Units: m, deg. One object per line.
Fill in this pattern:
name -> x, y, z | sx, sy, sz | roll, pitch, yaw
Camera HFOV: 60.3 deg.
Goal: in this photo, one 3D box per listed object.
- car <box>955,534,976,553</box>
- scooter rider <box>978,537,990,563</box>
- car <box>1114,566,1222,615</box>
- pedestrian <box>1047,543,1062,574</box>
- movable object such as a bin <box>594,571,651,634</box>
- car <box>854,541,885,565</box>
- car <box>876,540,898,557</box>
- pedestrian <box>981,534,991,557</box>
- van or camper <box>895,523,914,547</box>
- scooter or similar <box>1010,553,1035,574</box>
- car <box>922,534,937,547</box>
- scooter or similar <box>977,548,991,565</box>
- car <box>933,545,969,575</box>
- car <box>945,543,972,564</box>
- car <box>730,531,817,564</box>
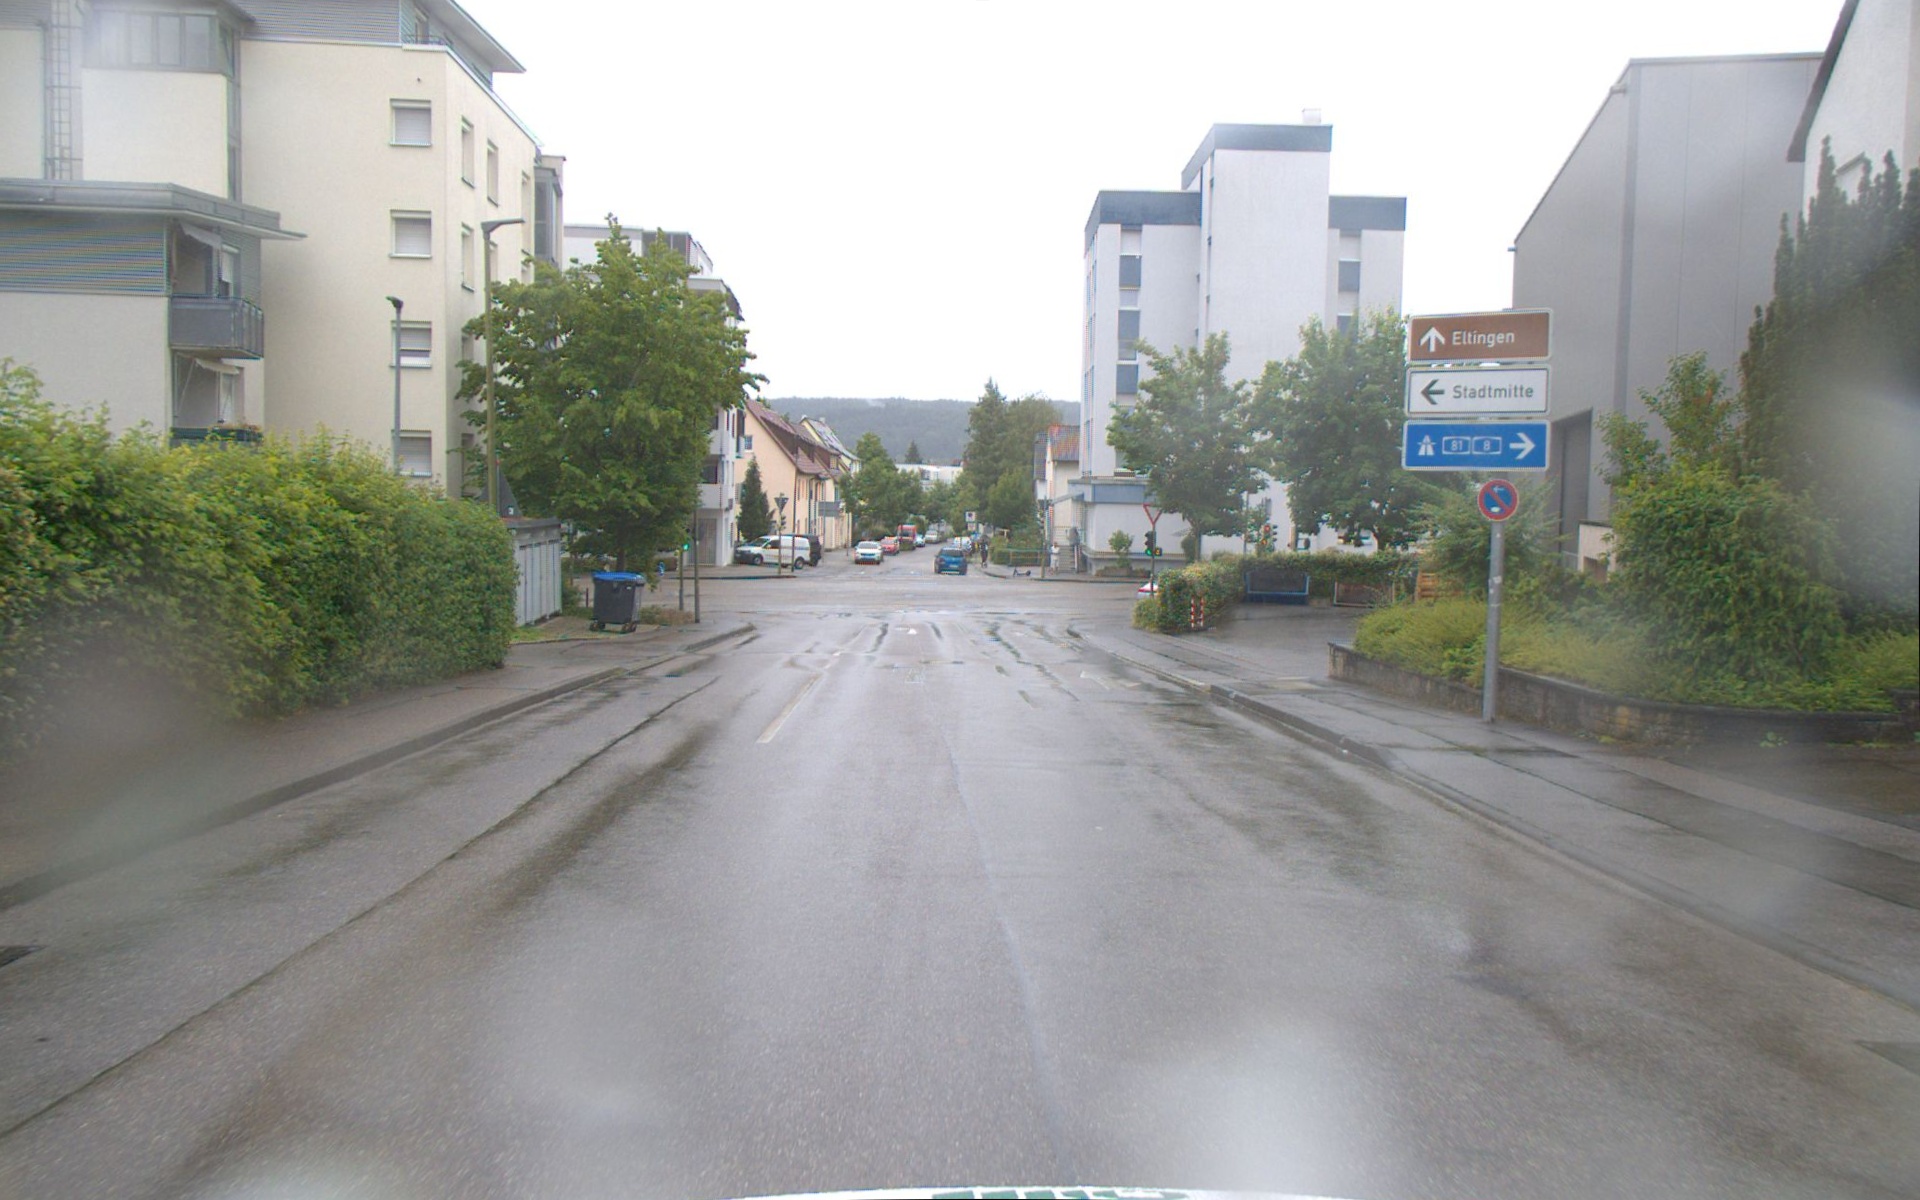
car -> 0.525, -5.257, 153.819 | 1.862, 1.775, 4.192 | 0, 2, 0
scooter rider -> 1.670, -3.578, 117.218 | 0.738, 1.827, 0.671 | -1, 2, -10
car -> 7.894, -0.388, 62.726 | 3.964, 1.713, 1.971 | -2, 3, -41
pedestrian -> 5.168, -2.280, 90.307 | 0.635, 1.675, 0.525 | 3, 1, -7
movable object such as a bin -> -7.689, 0.040, 37.726 | 1.050, 1.371, 1.318 | 2, 1, -3
car -> -6.444, -3.342, 118.118 | 1.953, 1.654, 4.192 | 0, 2, 0
car -> -6.785, -4.838, 154.557 | 1.862, 1.585, 4.192 | 0, 2, 0
pedestrian -> 2.082, -4.425, 134.396 | 0.731, 1.881, 0.526 | 1, 1, -3
van or camper -> -5.952, -6.960, 177.166 | 1.862, 2.557, 4.239 | 0, 2, 0
scooter or similar -> 3.375, -1.985, 89.015 | 1.243, 1.100, 0.876 | 0, 2, -6
car -> -3.742, -7.423, 204.837 | 1.862, 1.585, 4.192 | 0, 2, 0
scooter or similar -> 1.706, -3.078, 117.223 | 0.743, 1.191, 1.311 | -1, 2, -10
car -> -0.542, -2.357, 96.536 | 1.954, 1.713, 3.999 | 0, 2, -3
car -> -0.143, -3.740, 131.814 | 2.102, 1.616, 4.128 | 0, 2, 0
car -> -10.986, -3.105, 97.587 | 4.798, 1.867, 1.972 | -2, 3, -40
